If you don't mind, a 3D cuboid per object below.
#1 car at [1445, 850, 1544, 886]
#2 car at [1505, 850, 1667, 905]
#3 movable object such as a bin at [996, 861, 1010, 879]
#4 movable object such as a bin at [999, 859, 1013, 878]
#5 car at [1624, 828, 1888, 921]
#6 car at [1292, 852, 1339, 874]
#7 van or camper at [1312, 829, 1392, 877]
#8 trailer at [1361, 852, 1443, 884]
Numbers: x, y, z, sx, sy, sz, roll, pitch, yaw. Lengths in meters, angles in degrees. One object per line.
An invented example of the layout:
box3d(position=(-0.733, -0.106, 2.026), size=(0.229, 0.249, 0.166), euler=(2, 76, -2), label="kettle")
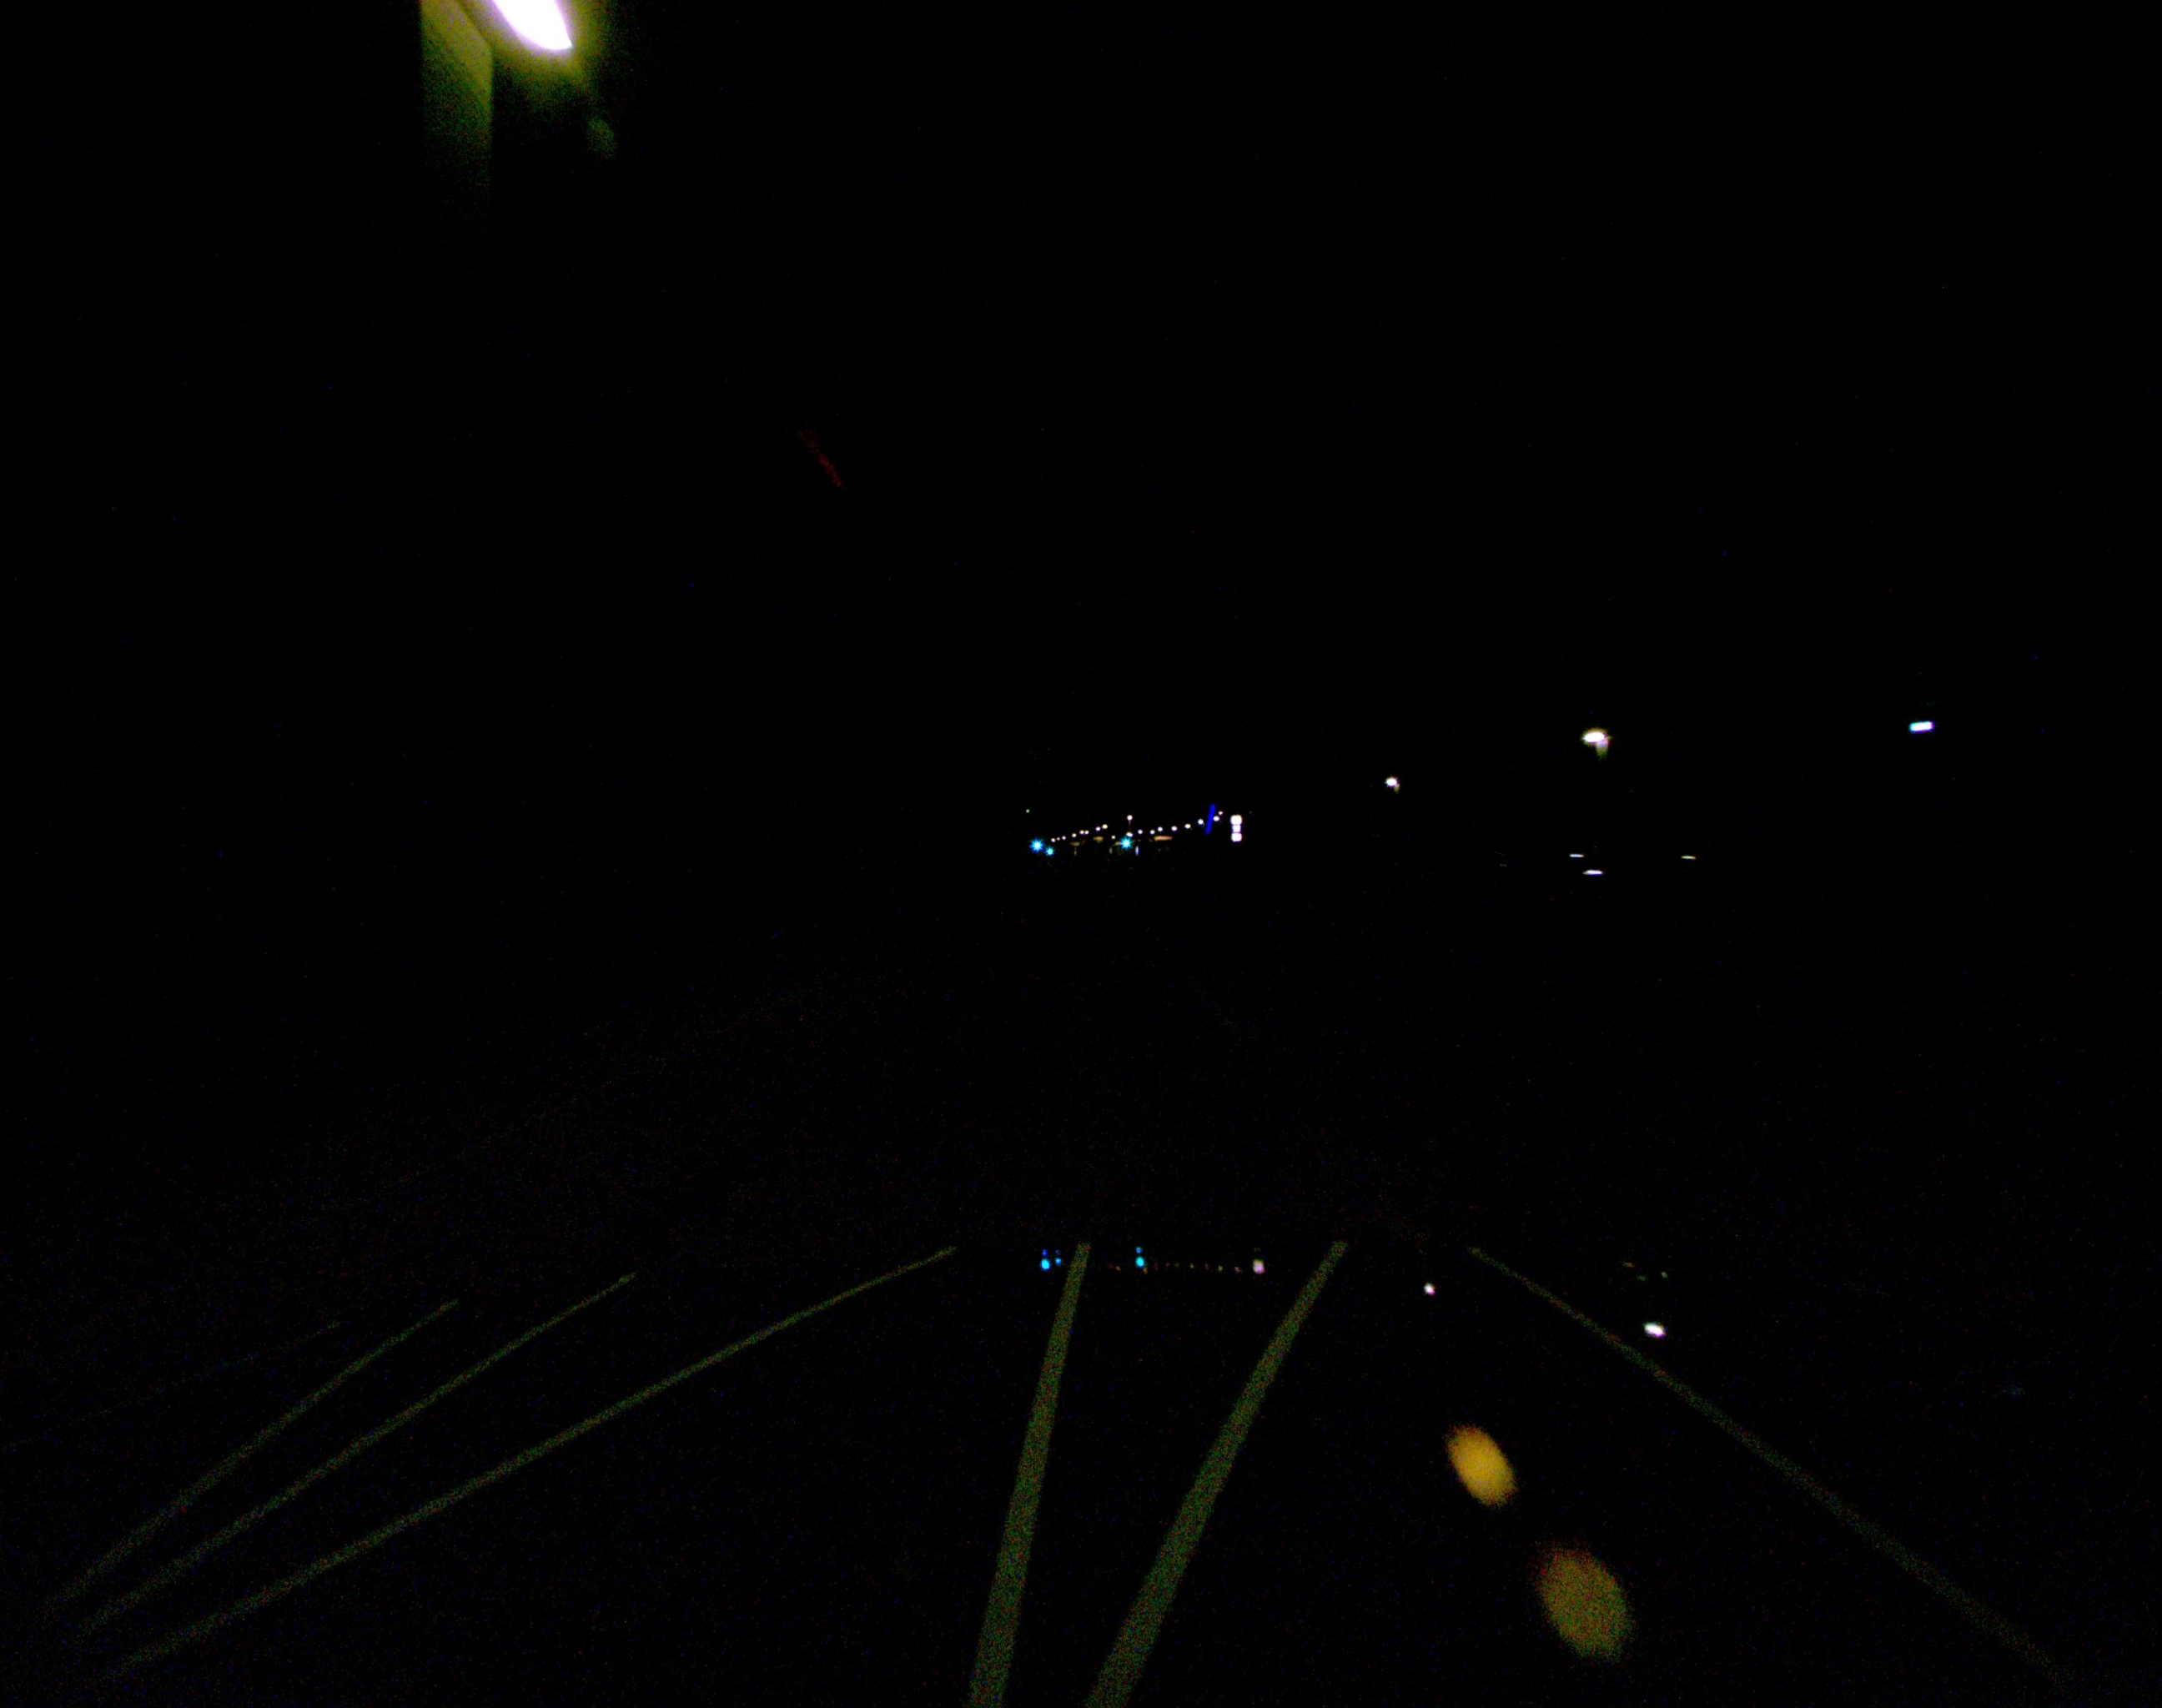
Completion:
box3d(position=(16.160, 0.517, 29.763), size=(3.037, 1.318, 1.533), euler=(-1, 1, -5), label="car")
box3d(position=(15.839, 0.663, 24.259), size=(1.906, 1.513, 5.172), euler=(-1, 0, 3), label="car")
box3d(position=(-5.015, 1.024, 48.851), size=(0.724, 1.115, 0.894), euler=(-1, 0, 7), label="movable object such as a bin")
box3d(position=(-4.911, 0.948, 49.709), size=(0.725, 1.194, 0.720), euler=(-1, 1, 7), label="movable object such as a bin")
box3d(position=(15.735, 0.415, 18.174), size=(1.862, 1.893, 4.878), euler=(-1, 0, -3), label="car")
box3d(position=(15.714, 0.564, 51.209), size=(1.650, 1.332, 4.542), euler=(3, 0, -1), label="car")
box3d(position=(15.894, -0.072, 44.970), size=(2.279, 2.632, 5.662), euler=(1, 0, -4), label="van or camper")
box3d(position=(16.100, 0.654, 38.384), size=(2.424, 1.367, 4.656), euler=(3, 0, 5), label="trailer")
